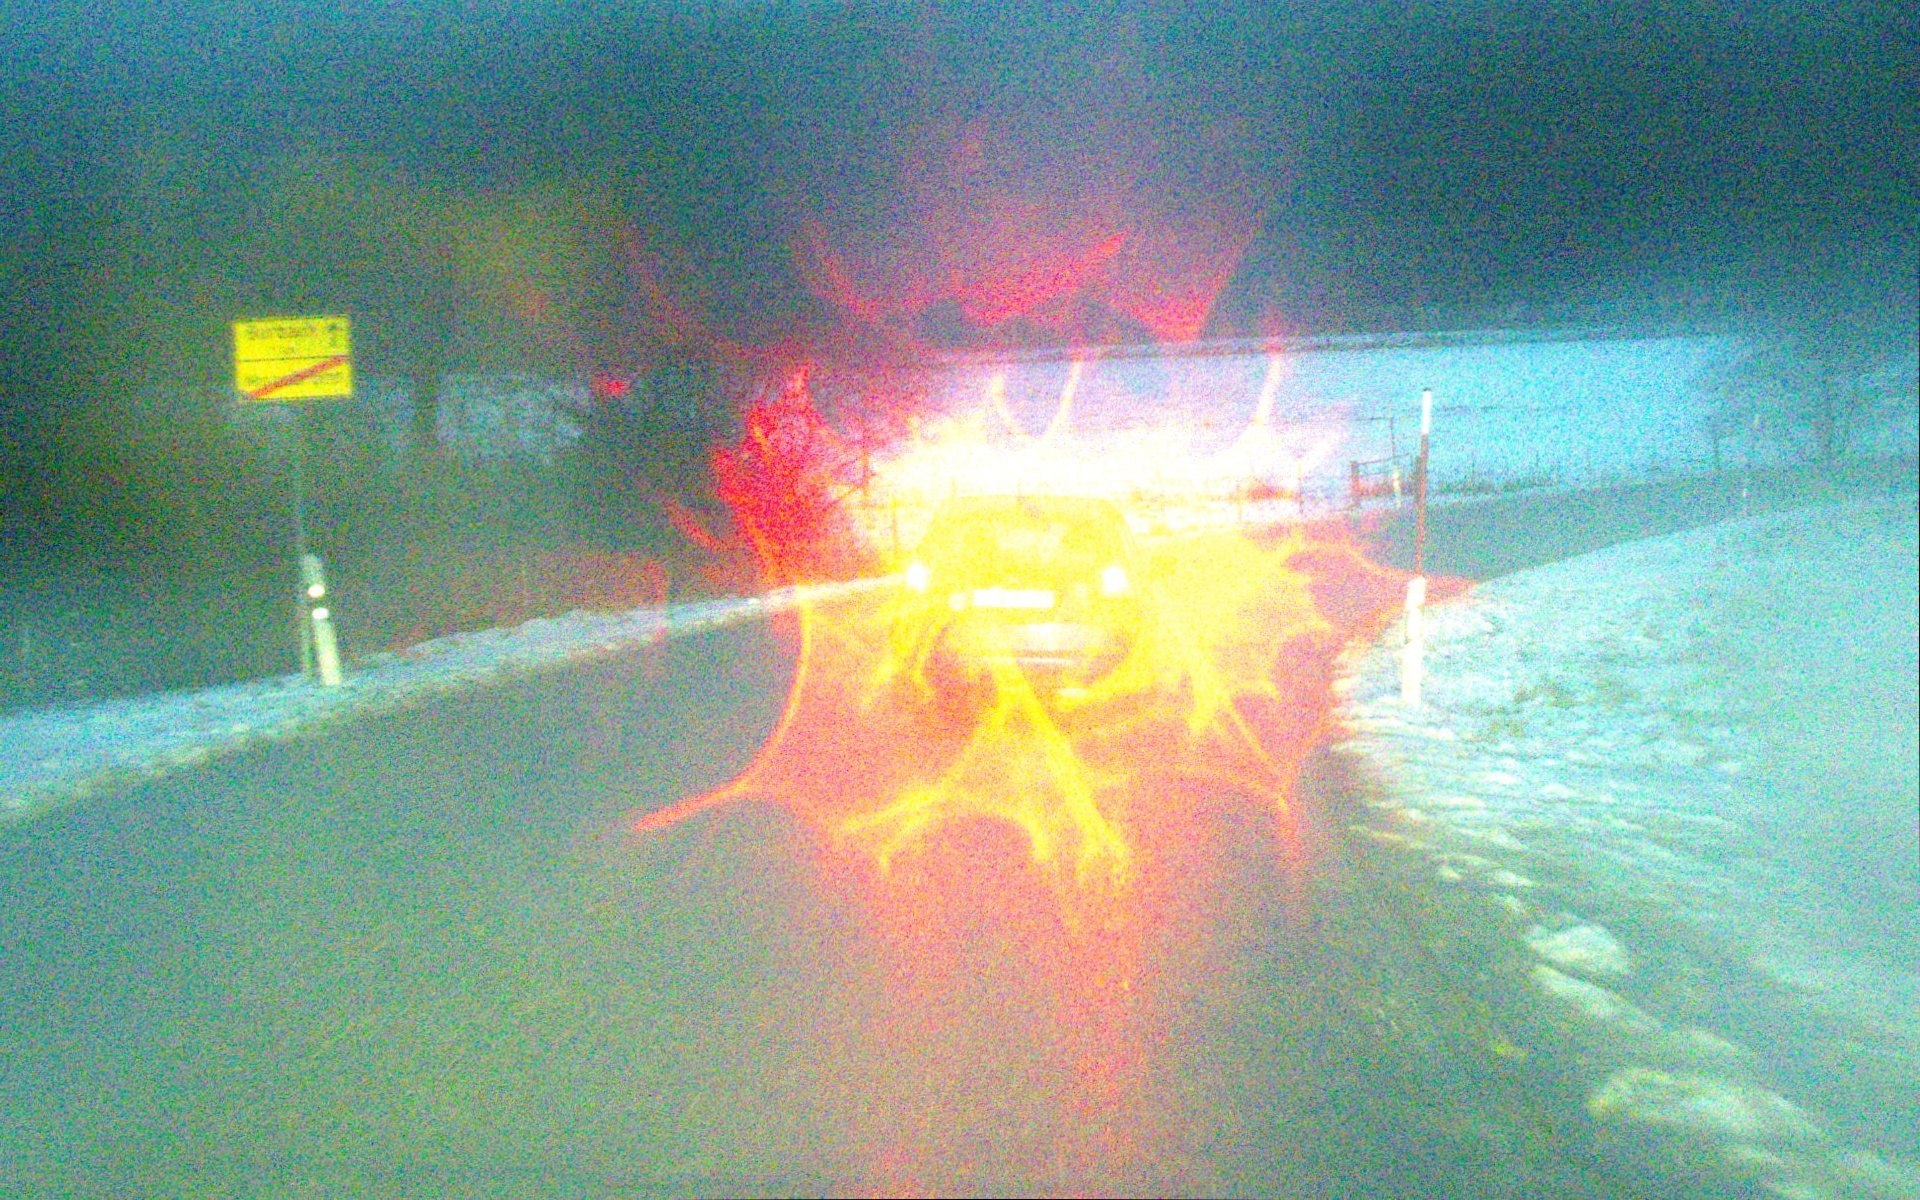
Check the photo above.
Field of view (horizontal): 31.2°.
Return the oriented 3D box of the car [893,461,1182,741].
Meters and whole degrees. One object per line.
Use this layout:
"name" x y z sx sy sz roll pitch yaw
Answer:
"car" 0.460 -0.008 23.774 1.822 1.790 3.578 0 0 -2
